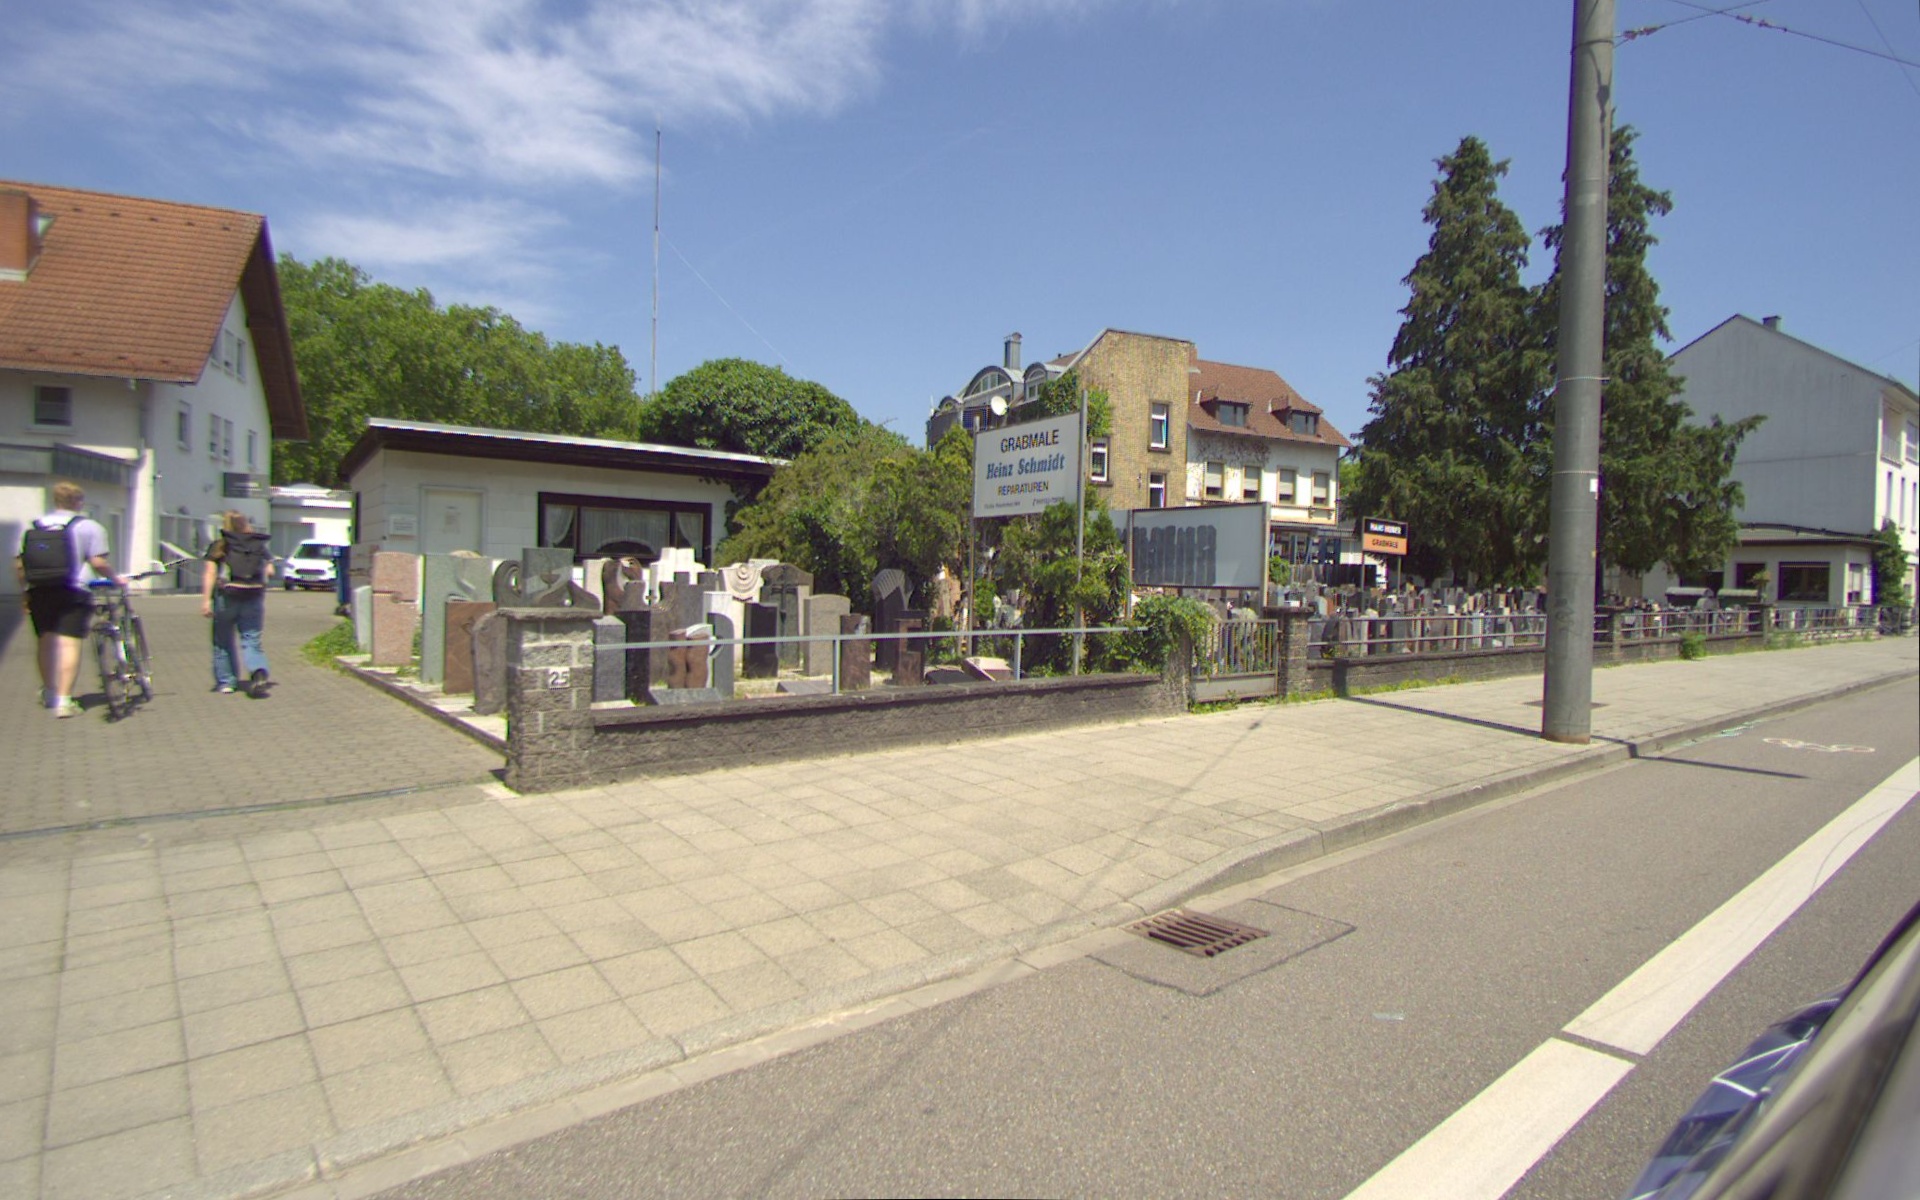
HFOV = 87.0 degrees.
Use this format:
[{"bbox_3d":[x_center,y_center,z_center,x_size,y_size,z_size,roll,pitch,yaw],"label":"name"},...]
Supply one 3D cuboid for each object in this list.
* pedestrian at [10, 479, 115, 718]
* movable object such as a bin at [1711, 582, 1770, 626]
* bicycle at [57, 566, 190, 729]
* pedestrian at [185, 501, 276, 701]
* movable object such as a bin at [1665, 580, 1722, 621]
[{"bbox_3d":[-7.099,-0.021,8.028,0.493,1.794,0.690,0,1,-30],"label":"pedestrian"},{"bbox_3d":[28.010,0.120,36.333,1.130,1.499,1.391,0,1,-37],"label":"movable object such as a bin"},{"bbox_3d":[-6.788,0.321,8.282,0.578,1.141,1.810,0,3,-31],"label":"bicycle"},{"bbox_3d":[-6.587,-0.007,9.165,0.577,1.712,0.828,0,1,-30],"label":"pedestrian"},{"bbox_3d":[27.332,0.003,37.731,1.129,1.499,1.392,0,1,-34],"label":"movable object such as a bin"}]
